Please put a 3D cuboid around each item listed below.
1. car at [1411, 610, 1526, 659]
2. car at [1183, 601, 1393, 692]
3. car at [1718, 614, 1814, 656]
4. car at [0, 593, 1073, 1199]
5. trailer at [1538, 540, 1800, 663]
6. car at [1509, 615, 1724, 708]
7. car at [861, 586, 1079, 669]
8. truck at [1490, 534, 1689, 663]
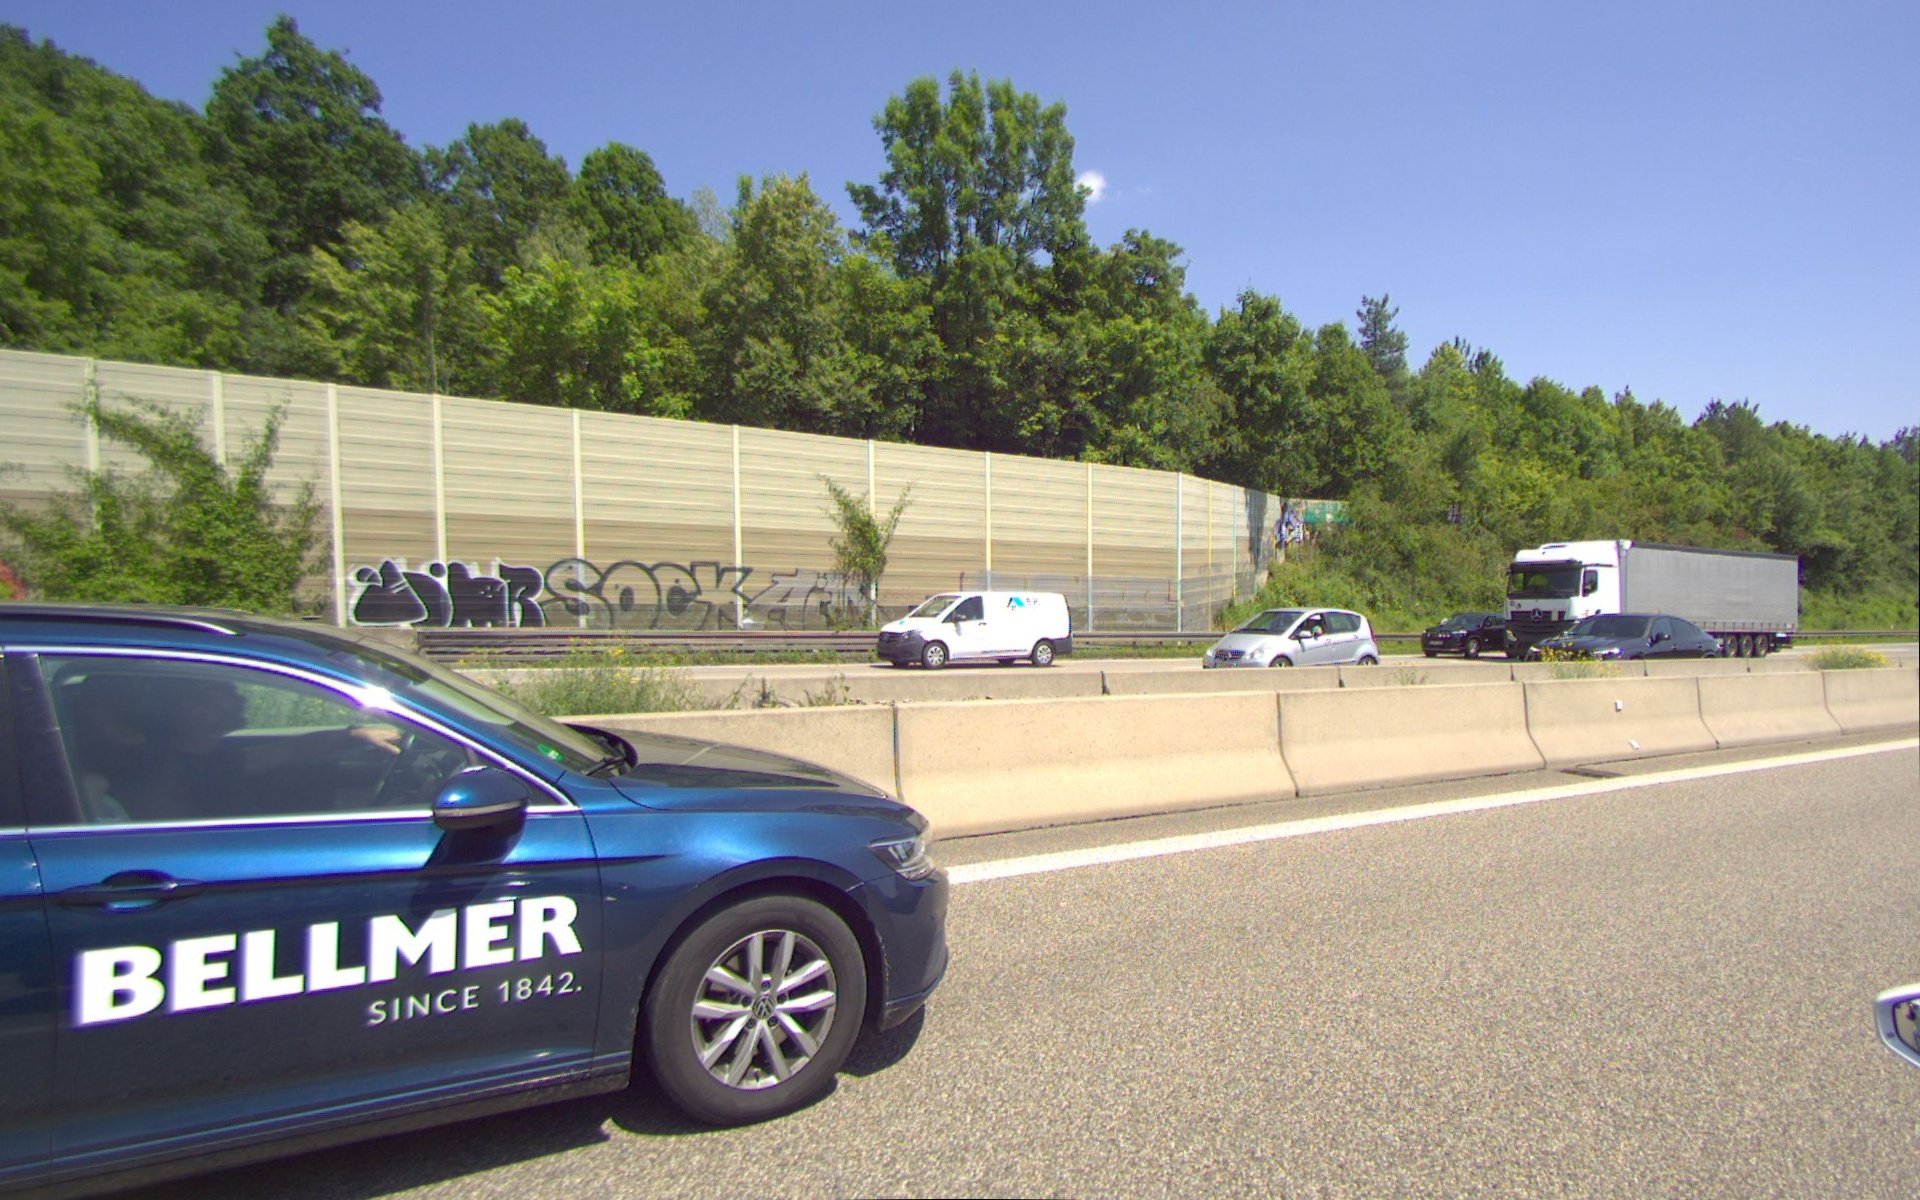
[{"bbox_3d":[18.334,1.235,36.174,4.051,1.663,1.801,1,0,-31],"label":"car"},{"bbox_3d":[6.723,0.924,20.505,4.057,1.692,1.819,2,-1,-30],"label":"car"},{"bbox_3d":[37.752,1.619,47.012,5.047,1.834,1.801,1,0,-31],"label":"car"},{"bbox_3d":[-2.087,0.719,2.869,4.673,1.447,1.725,1,0,-30],"label":"car"},{"bbox_3d":[26.553,0.226,37.185,13.672,3.960,2.798,2,-1,-32],"label":"trailer"},{"bbox_3d":[13.245,1.180,20.206,4.549,1.663,1.801,1,0,-31],"label":"car"},{"bbox_3d":[0.315,0.708,25.118,5.244,1.892,1.911,2,-1,-32],"label":"car"},{"bbox_3d":[21.313,0.057,33.892,7.234,3.960,2.797,2,-1,-32],"label":"truck"}]
